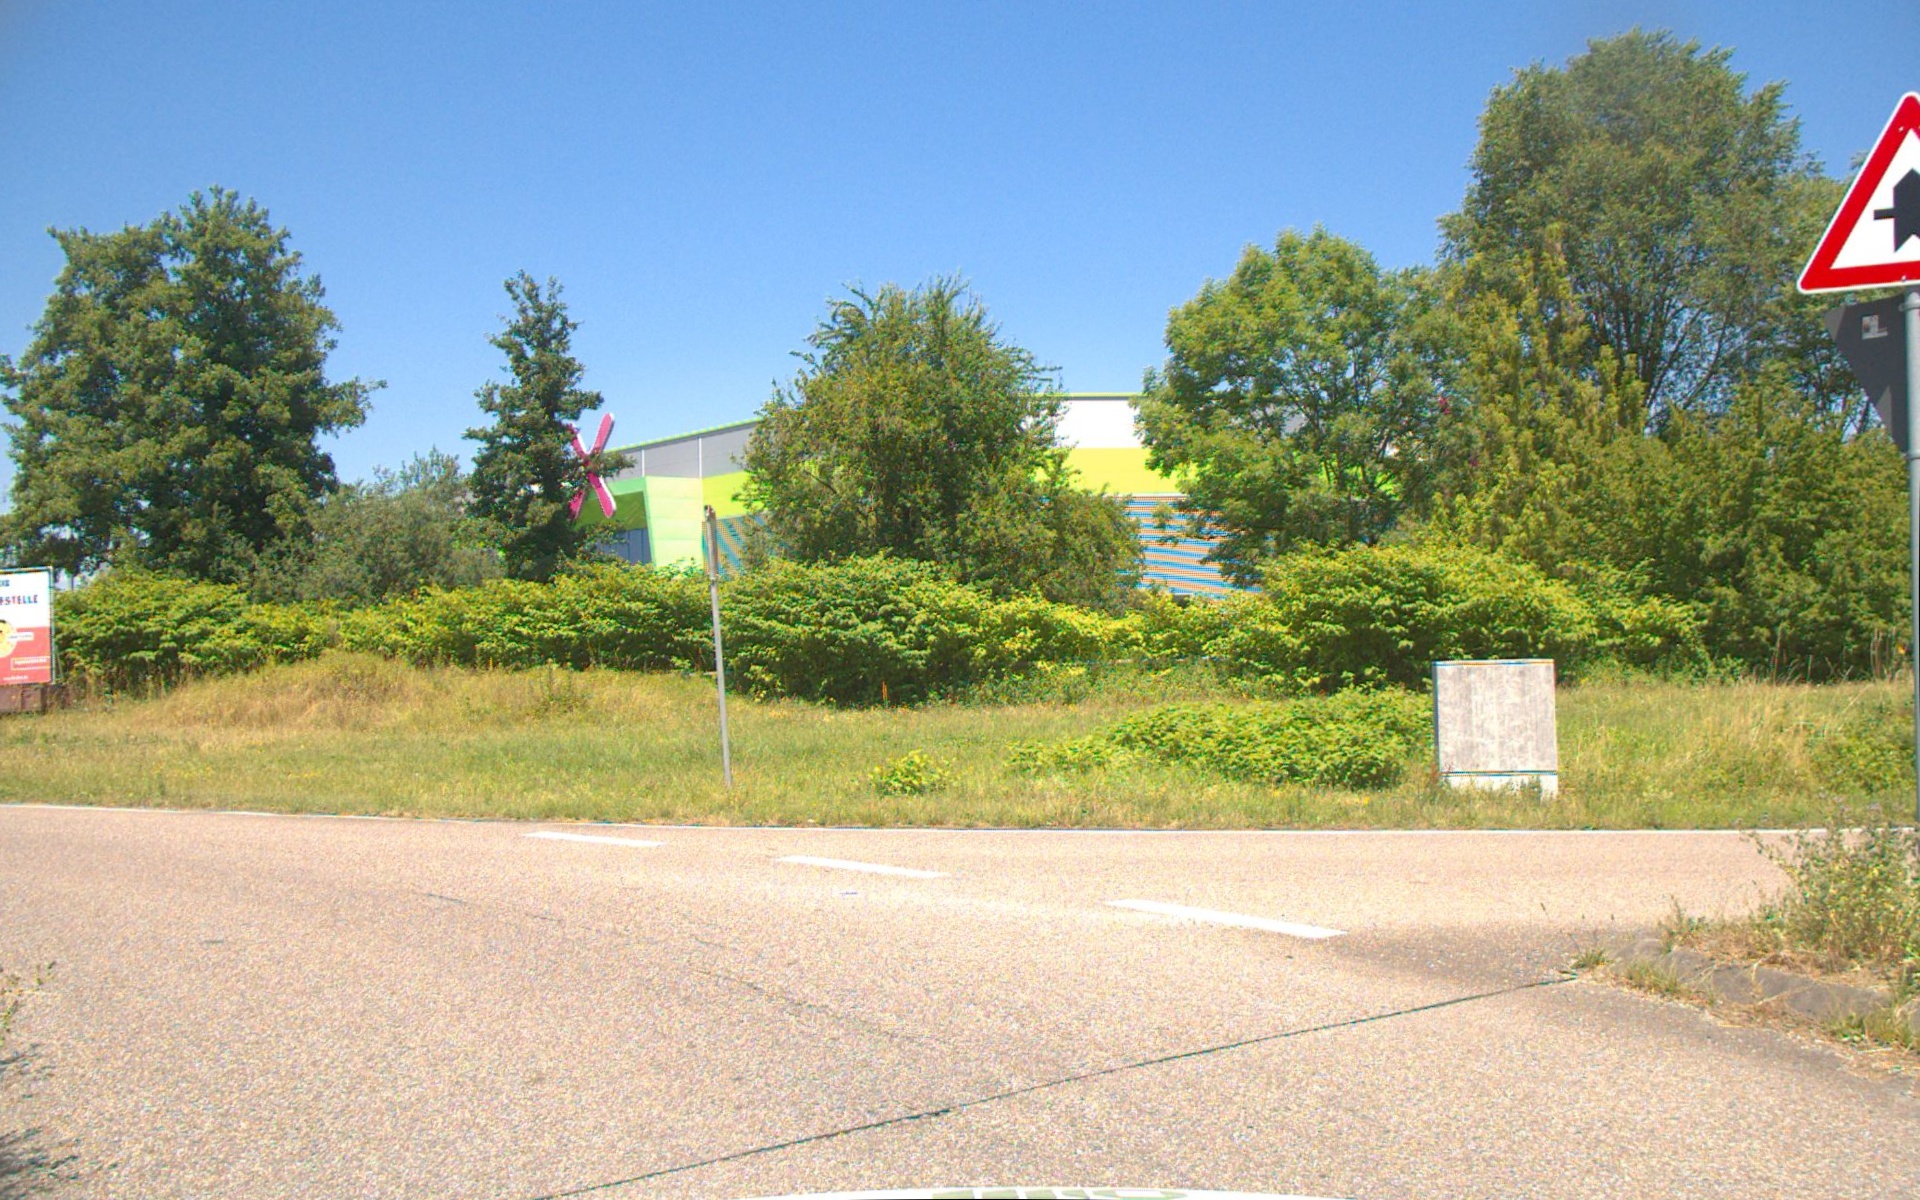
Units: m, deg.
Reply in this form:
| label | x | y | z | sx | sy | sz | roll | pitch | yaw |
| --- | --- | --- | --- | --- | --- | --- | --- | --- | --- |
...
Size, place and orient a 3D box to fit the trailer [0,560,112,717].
| label | x | y | z | sx | sy | sz | roll | pitch | yaw |
| --- | --- | --- | --- | --- | --- | --- | --- | --- | --- |
| trailer | -18.108 | 0.724 | 30.790 | 3.667 | 2.813 | 1.827 | -1 | -1 | 4 |
